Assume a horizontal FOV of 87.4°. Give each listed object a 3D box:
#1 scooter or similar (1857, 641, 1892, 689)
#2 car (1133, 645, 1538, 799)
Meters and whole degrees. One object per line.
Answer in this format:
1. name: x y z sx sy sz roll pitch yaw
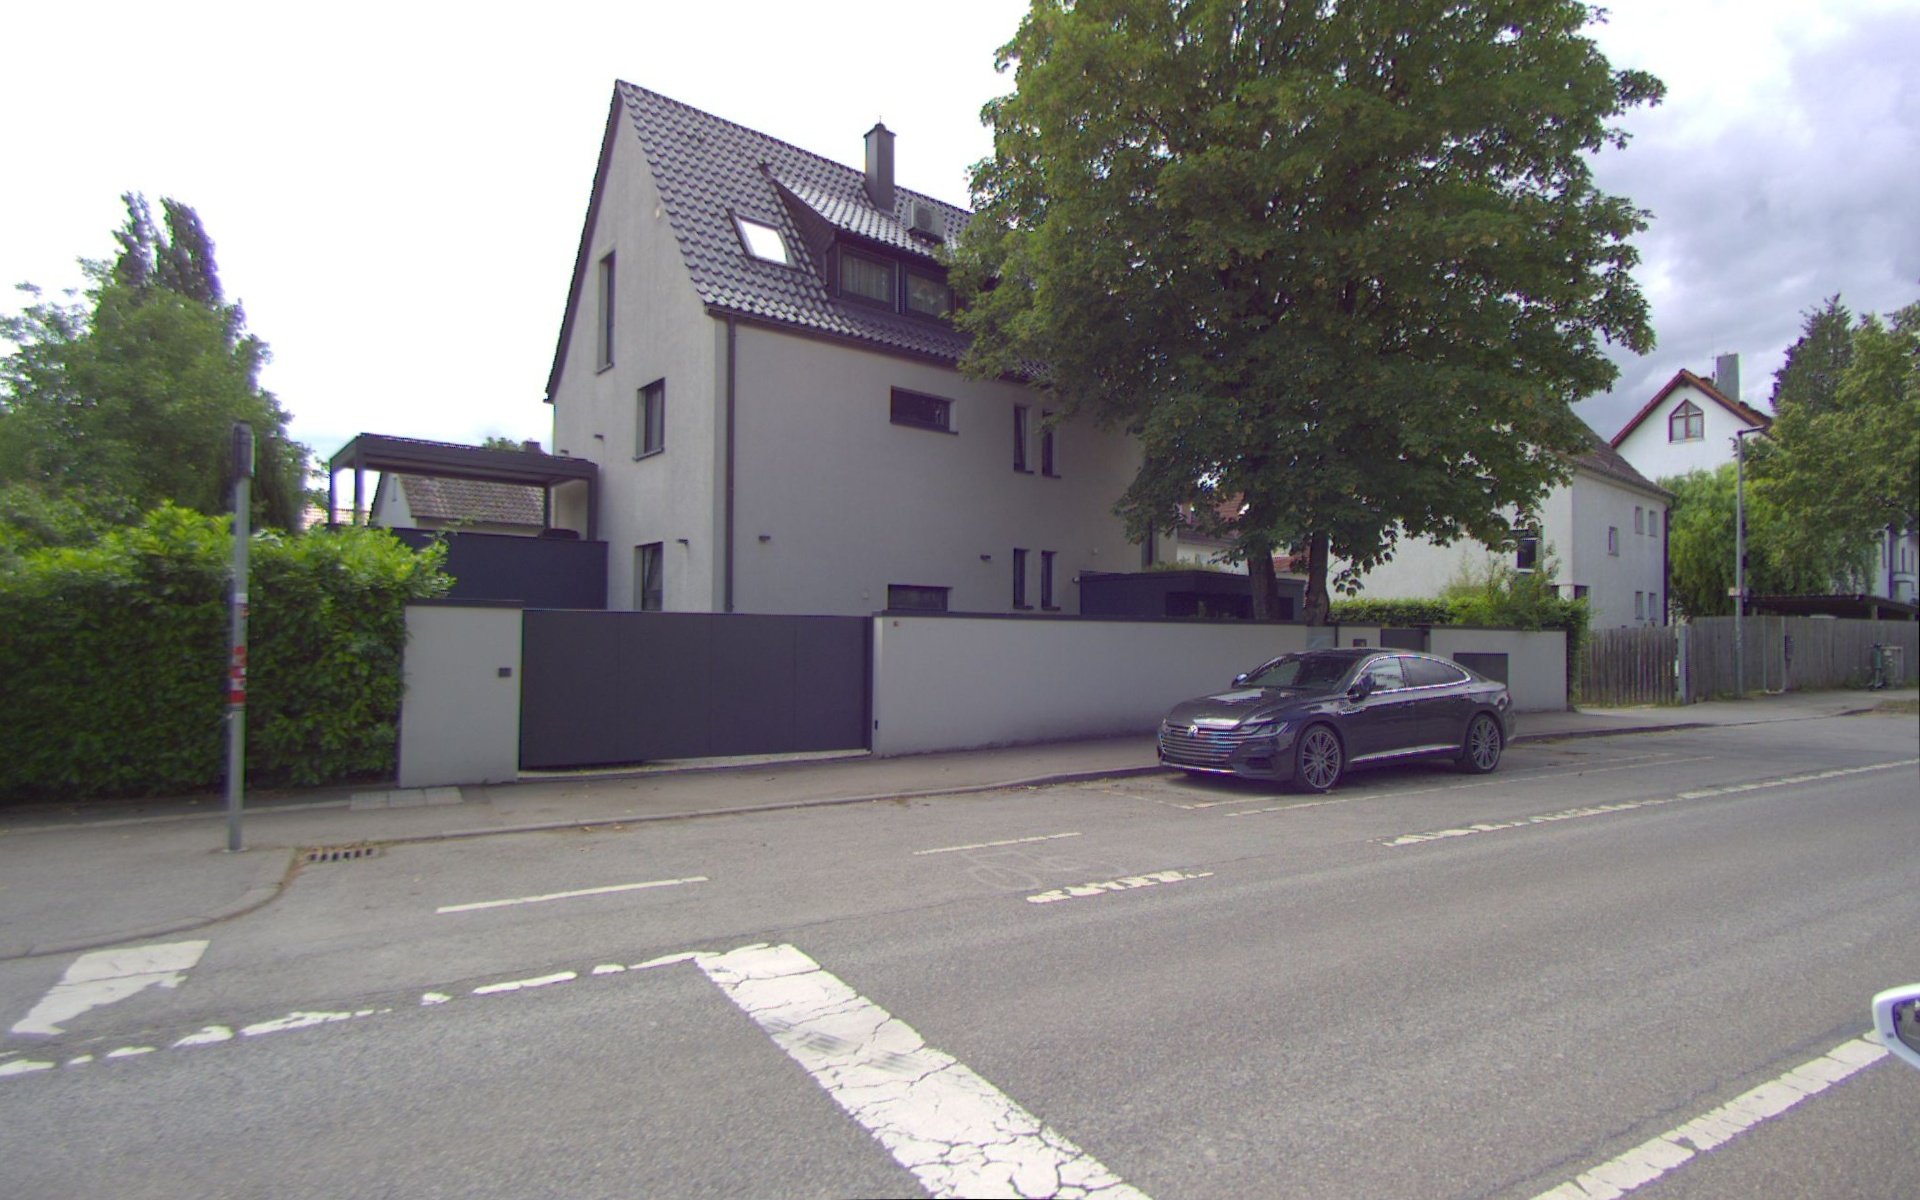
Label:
1. scooter or similar: 24.556 1.730 26.975 1.484 1.246 0.385 1 -1 -36
2. car: 4.326 1.232 11.316 4.746 1.413 1.710 1 -3 -31
